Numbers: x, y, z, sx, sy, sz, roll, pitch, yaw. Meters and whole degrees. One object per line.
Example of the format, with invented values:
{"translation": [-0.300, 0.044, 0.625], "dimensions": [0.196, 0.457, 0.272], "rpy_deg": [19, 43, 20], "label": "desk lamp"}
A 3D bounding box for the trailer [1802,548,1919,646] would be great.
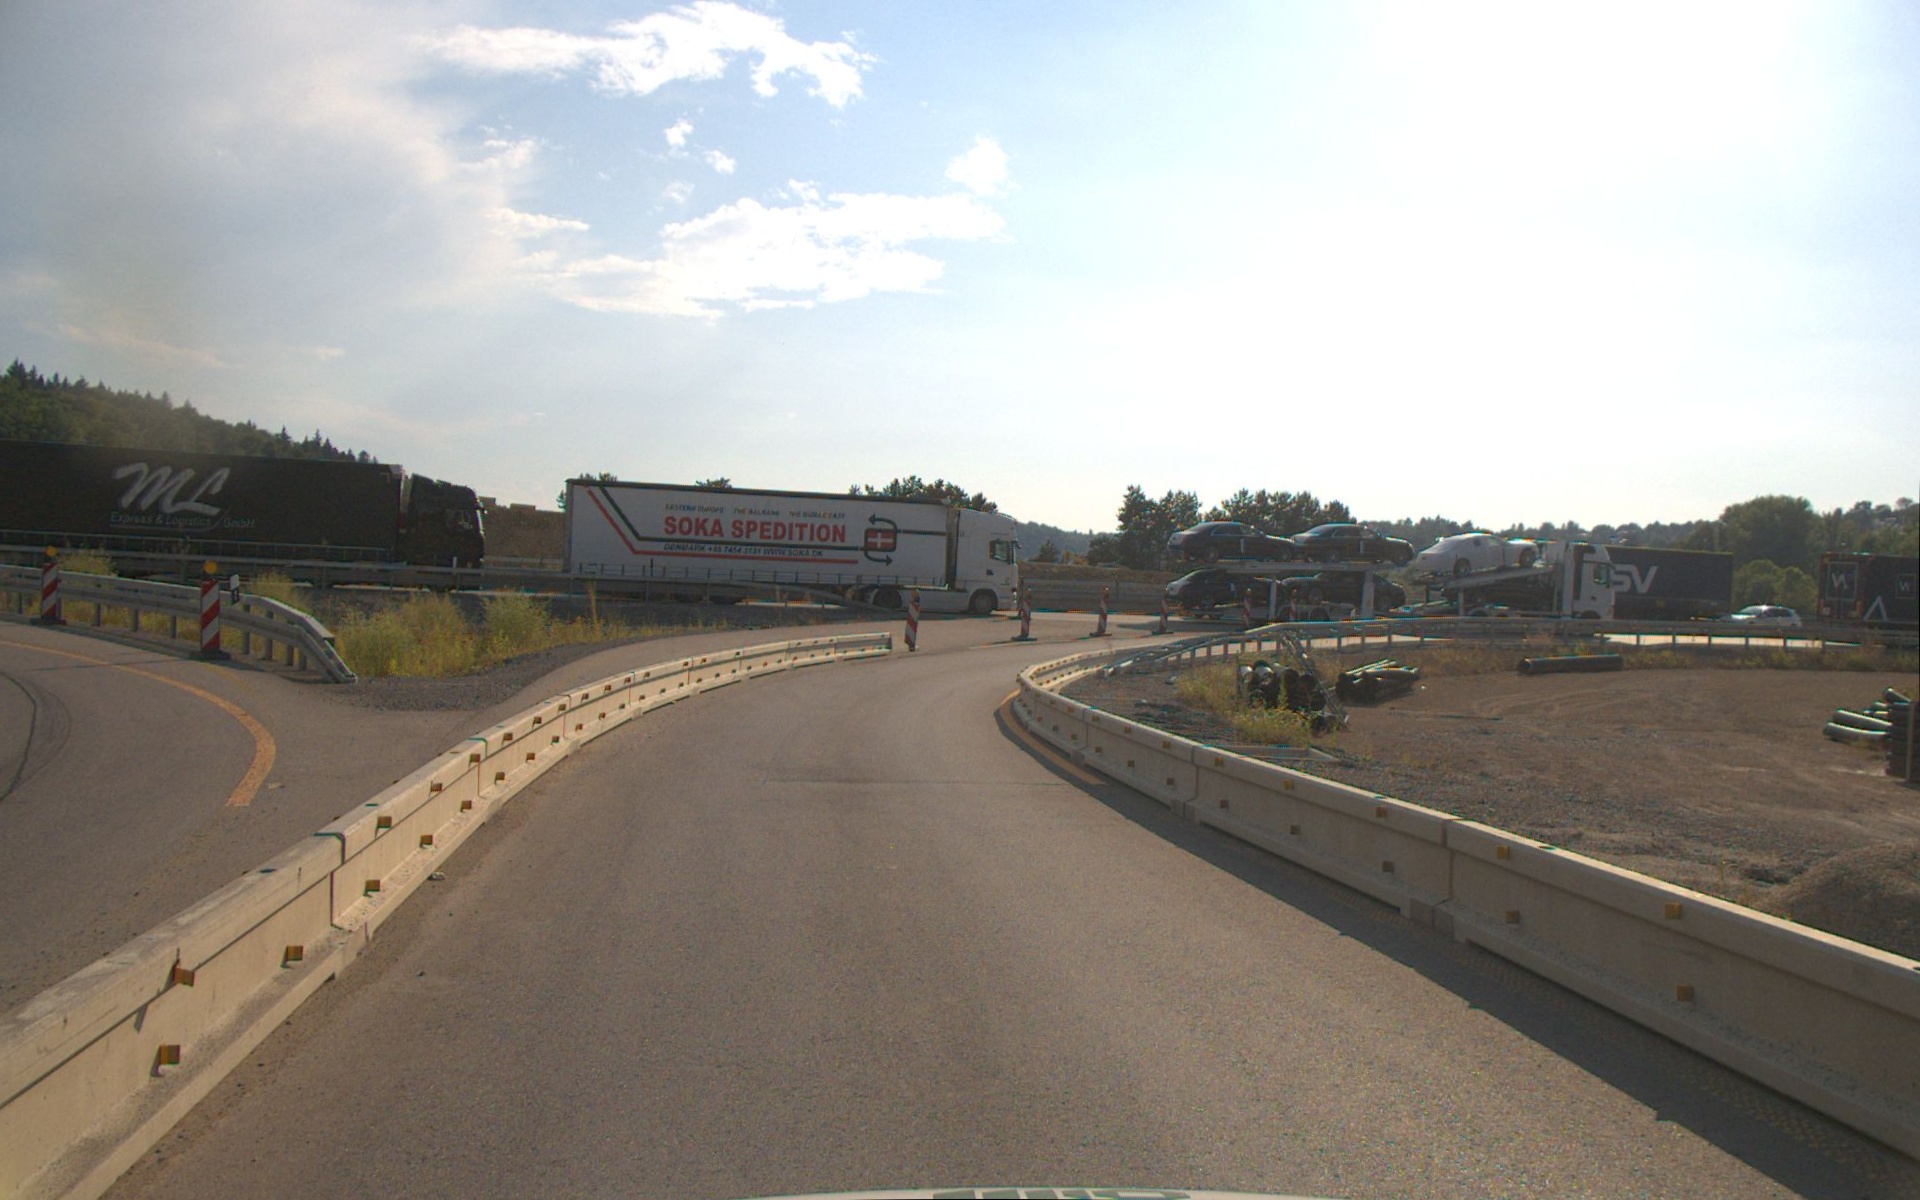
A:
{"translation": [43.967, 0.015, 75.620], "dimensions": [10.586, 4.163, 2.955], "rpy_deg": [3, 0, -17], "label": "trailer"}

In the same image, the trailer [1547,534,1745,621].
{"translation": [34.492, -1.079, 83.173], "dimensions": [9.387, 3.817, 3.002], "rpy_deg": [3, -1, -17], "label": "trailer"}

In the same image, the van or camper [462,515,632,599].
{"translation": [-14.970, -1.554, 60.015], "dimensions": [5.789, 2.665, 1.992], "rpy_deg": [3, 1, -17], "label": "van or camper"}

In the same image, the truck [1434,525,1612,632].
{"translation": [23.484, -0.887, 69.078], "dimensions": [6.500, 4.066, 2.844], "rpy_deg": [3, 1, -18], "label": "truck"}

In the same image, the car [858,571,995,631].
{"translation": [-1.317, 0.027, 64.243], "dimensions": [4.884, 2.015, 2.026], "rpy_deg": [2, 3, -17], "label": "car"}

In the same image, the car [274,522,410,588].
{"translation": [-21.269, -1.525, 57.065], "dimensions": [4.251, 2.049, 1.518], "rpy_deg": [3, -1, -19], "label": "car"}

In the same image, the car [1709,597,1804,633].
{"translation": [39.121, 0.735, 81.250], "dimensions": [4.157, 1.526, 1.655], "rpy_deg": [2, 3, -17], "label": "car"}

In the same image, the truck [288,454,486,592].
{"translation": [-18.938, -2.500, 54.871], "dimensions": [5.902, 4.130, 2.475], "rpy_deg": [3, 1, -20], "label": "truck"}

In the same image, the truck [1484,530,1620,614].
{"translation": [29.169, -1.336, 81.510], "dimensions": [5.580, 3.792, 2.992], "rpy_deg": [3, -1, -18], "label": "truck"}

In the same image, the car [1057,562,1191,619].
{"translation": [6.585, -0.381, 66.507], "dimensions": [4.884, 2.015, 2.026], "rpy_deg": [2, 3, -17], "label": "car"}

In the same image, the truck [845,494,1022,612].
{"translation": [-0.996, -1.705, 60.772], "dimensions": [5.900, 3.945, 2.476], "rpy_deg": [3, 1, -19], "label": "truck"}

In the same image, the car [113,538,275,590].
{"translation": [-26.940, -1.278, 58.376], "dimensions": [4.884, 1.526, 2.026], "rpy_deg": [2, 3, -17], "label": "car"}

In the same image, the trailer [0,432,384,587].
{"translation": [-25.488, -2.839, 52.503], "dimensions": [13.381, 4.132, 2.475], "rpy_deg": [3, 1, -19], "label": "trailer"}

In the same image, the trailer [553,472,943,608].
{"translation": [-7.396, -2.046, 58.610], "dimensions": [13.377, 3.945, 2.476], "rpy_deg": [3, 1, -19], "label": "trailer"}

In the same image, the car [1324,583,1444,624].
{"translation": [19.215, 0.160, 75.027], "dimensions": [4.884, 1.526, 2.026], "rpy_deg": [2, 3, -17], "label": "car"}

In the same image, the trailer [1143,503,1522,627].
{"translation": [15.040, -1.315, 66.288], "dimensions": [15.451, 4.066, 2.852], "rpy_deg": [3, 0, -18], "label": "trailer"}
